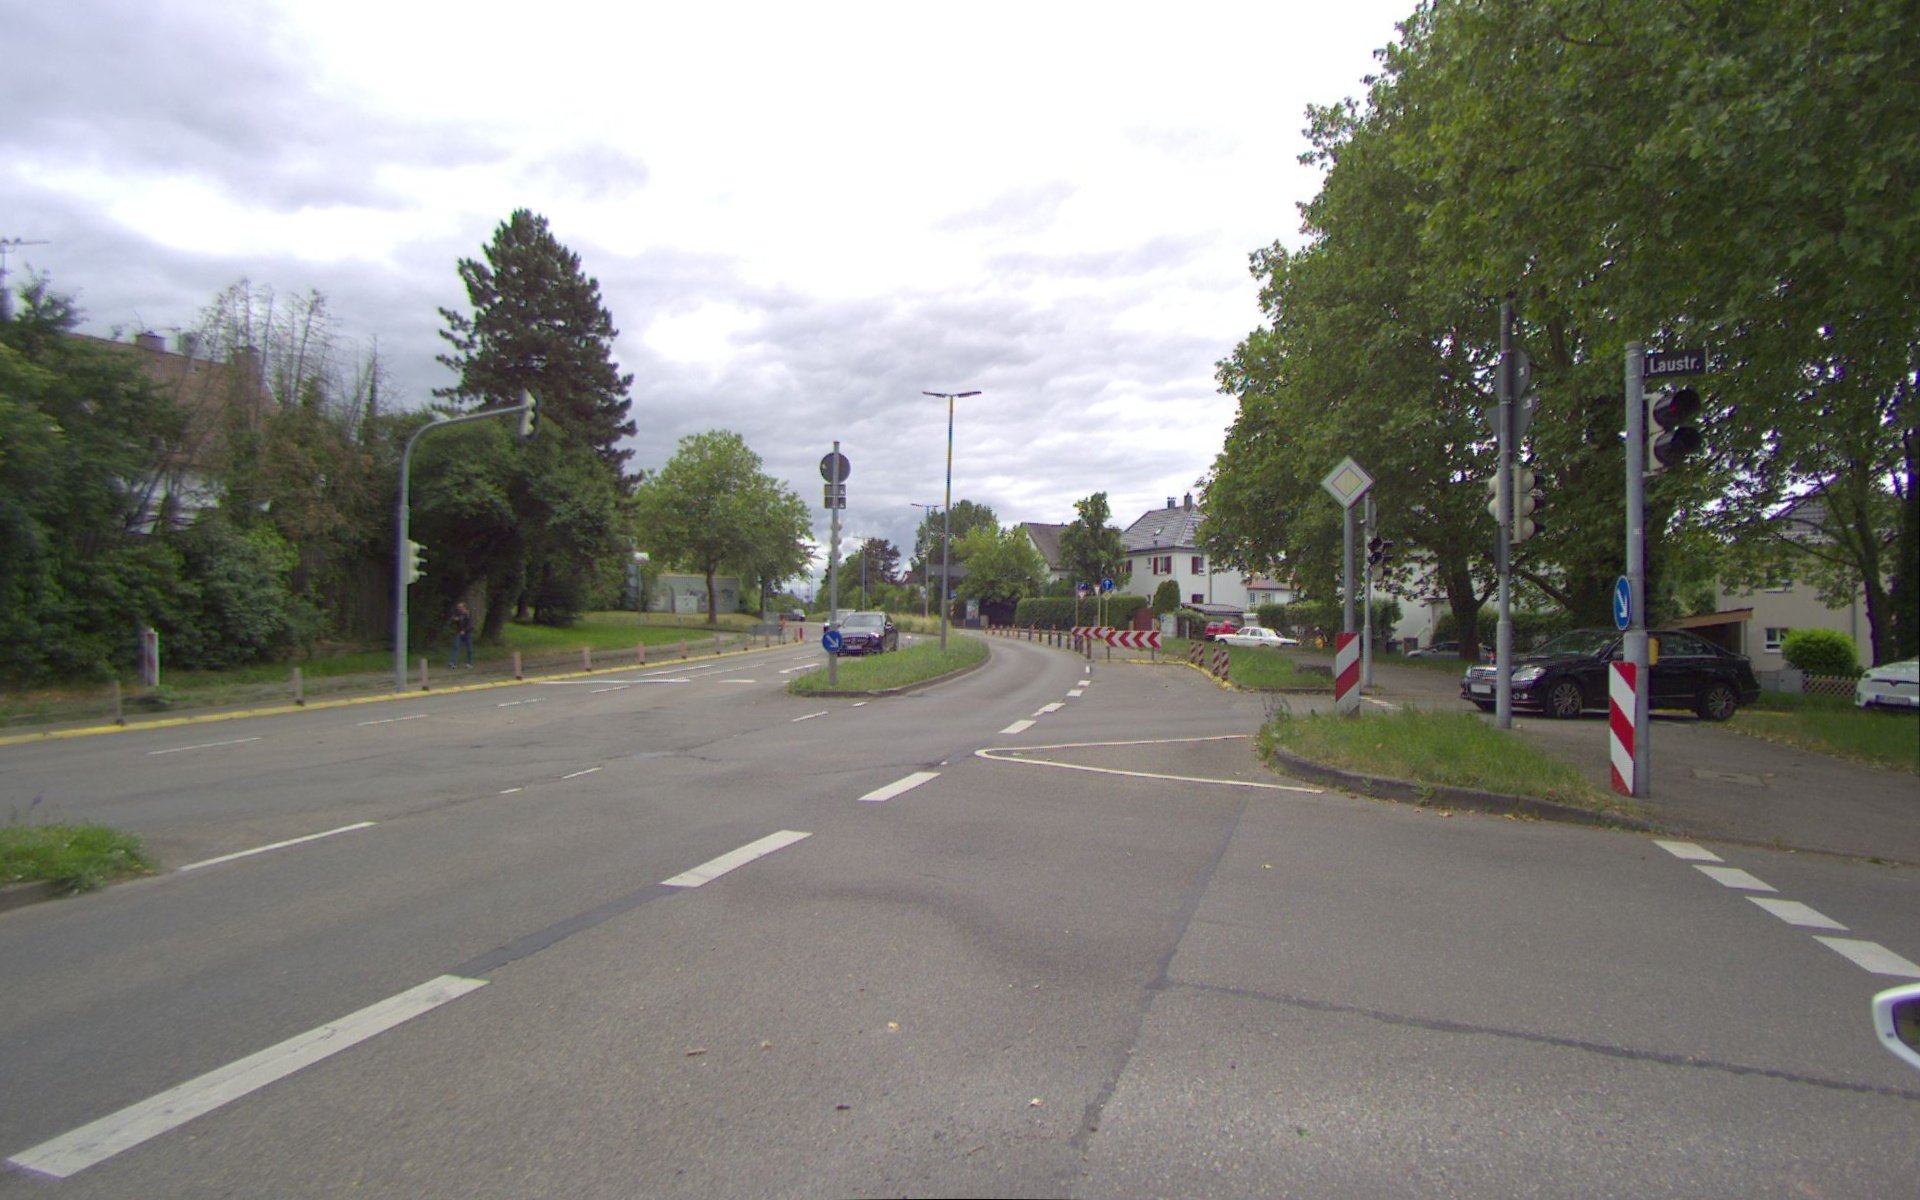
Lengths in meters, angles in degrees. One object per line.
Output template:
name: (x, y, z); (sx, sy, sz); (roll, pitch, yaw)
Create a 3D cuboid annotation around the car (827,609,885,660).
car: (-3.726, 1.166, 35.491); (1.812, 1.653, 4.254); (-1, -1, -9)

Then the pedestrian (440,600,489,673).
pedestrian: (-13.995, 1.022, 28.377); (0.934, 2.040, 0.855); (1, 0, 1)

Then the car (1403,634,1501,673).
car: (23.648, 2.545, 48.362); (3.935, 1.534, 1.654); (4, 2, 39)

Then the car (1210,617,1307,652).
car: (16.551, 1.897, 55.877); (2.198, 1.815, 4.827); (1, -1, -40)

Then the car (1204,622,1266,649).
car: (17.429, 2.234, 63.641); (3.783, 1.537, 1.596); (3, -1, -32)

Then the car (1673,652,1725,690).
car: (34.074, 3.231, 46.314); (1.846, 1.568, 3.367); (-1, -1, 37)

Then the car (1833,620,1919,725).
car: (17.770, 1.202, 17.017); (4.817, 1.680, 1.854); (0, -1, -9)

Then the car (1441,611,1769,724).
car: (10.199, 1.049, 16.015); (4.308, 1.537, 1.760); (3, -1, -9)
